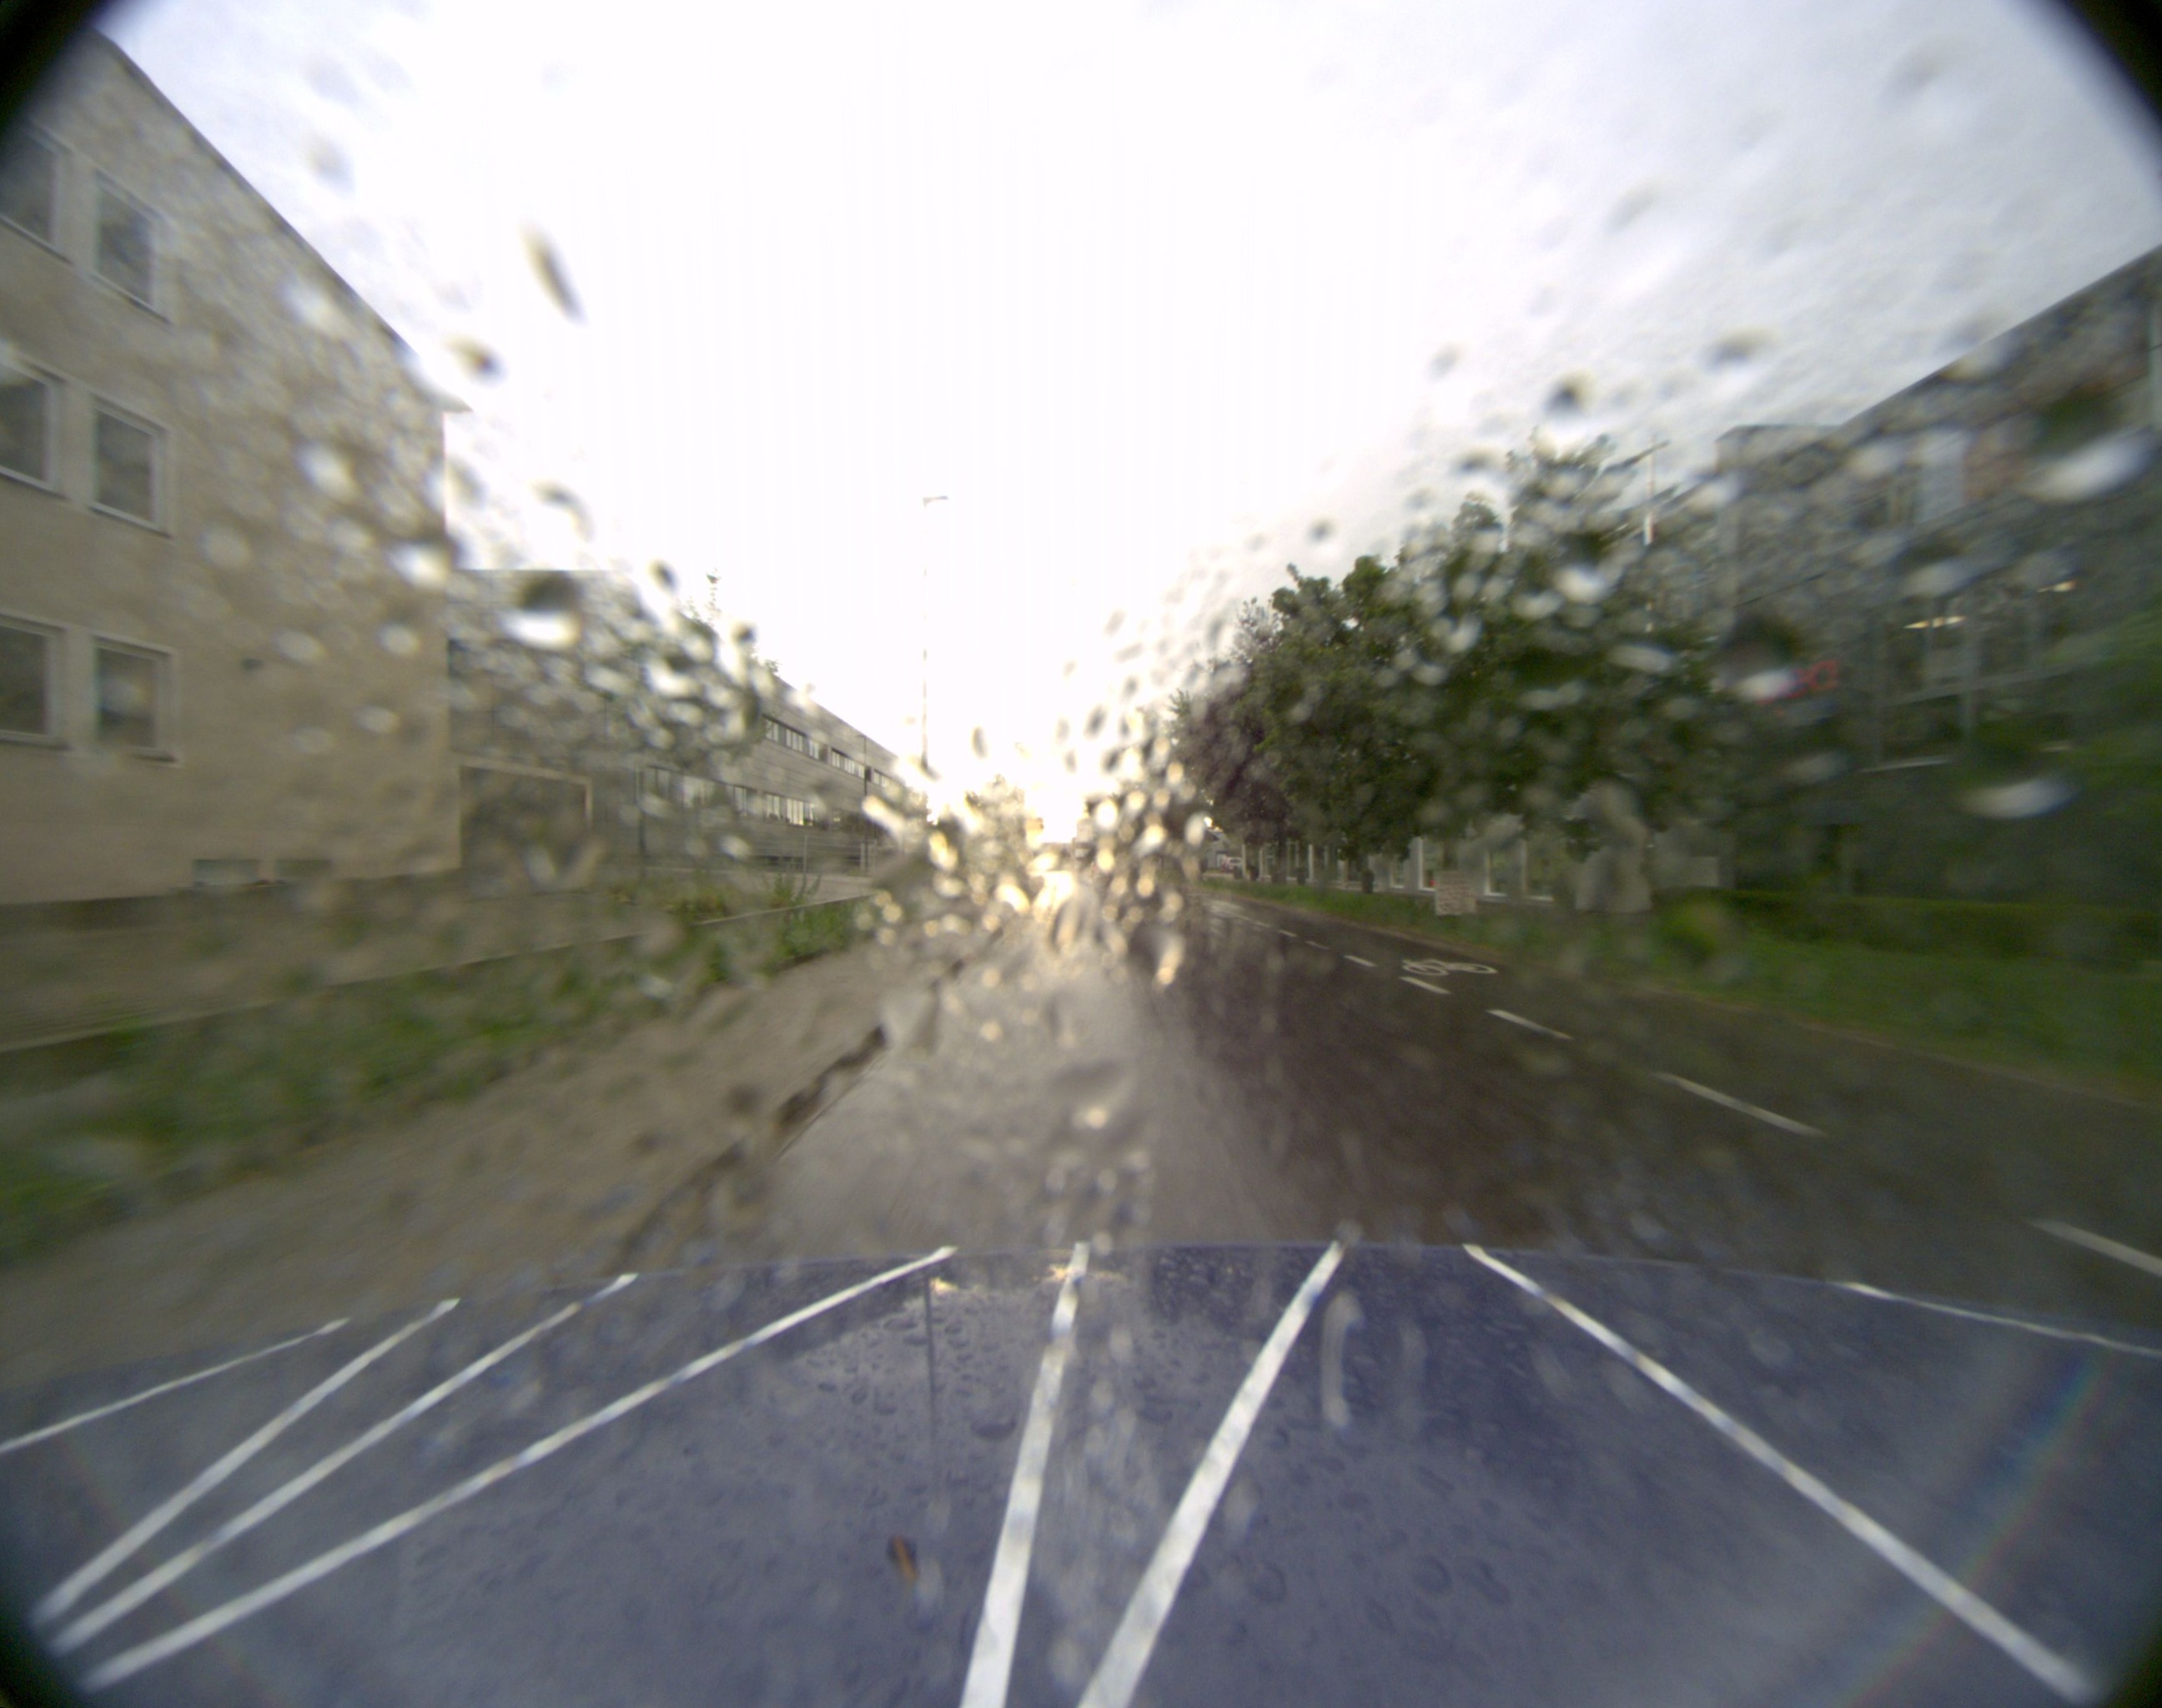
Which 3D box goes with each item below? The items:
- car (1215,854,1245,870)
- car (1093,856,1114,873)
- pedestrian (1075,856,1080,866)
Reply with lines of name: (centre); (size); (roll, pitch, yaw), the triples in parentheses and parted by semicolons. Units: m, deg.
car: (18.092, 0.964, 92.595); (2.040, 1.811, 5.607); (-2, -1, -6)
car: (2.214, 1.070, 74.868); (1.855, 1.545, 4.502); (-2, -1, -1)
pedestrian: (-0.678, 1.345, 145.108); (0.748, 1.826, 0.889); (0, -1, -10)
